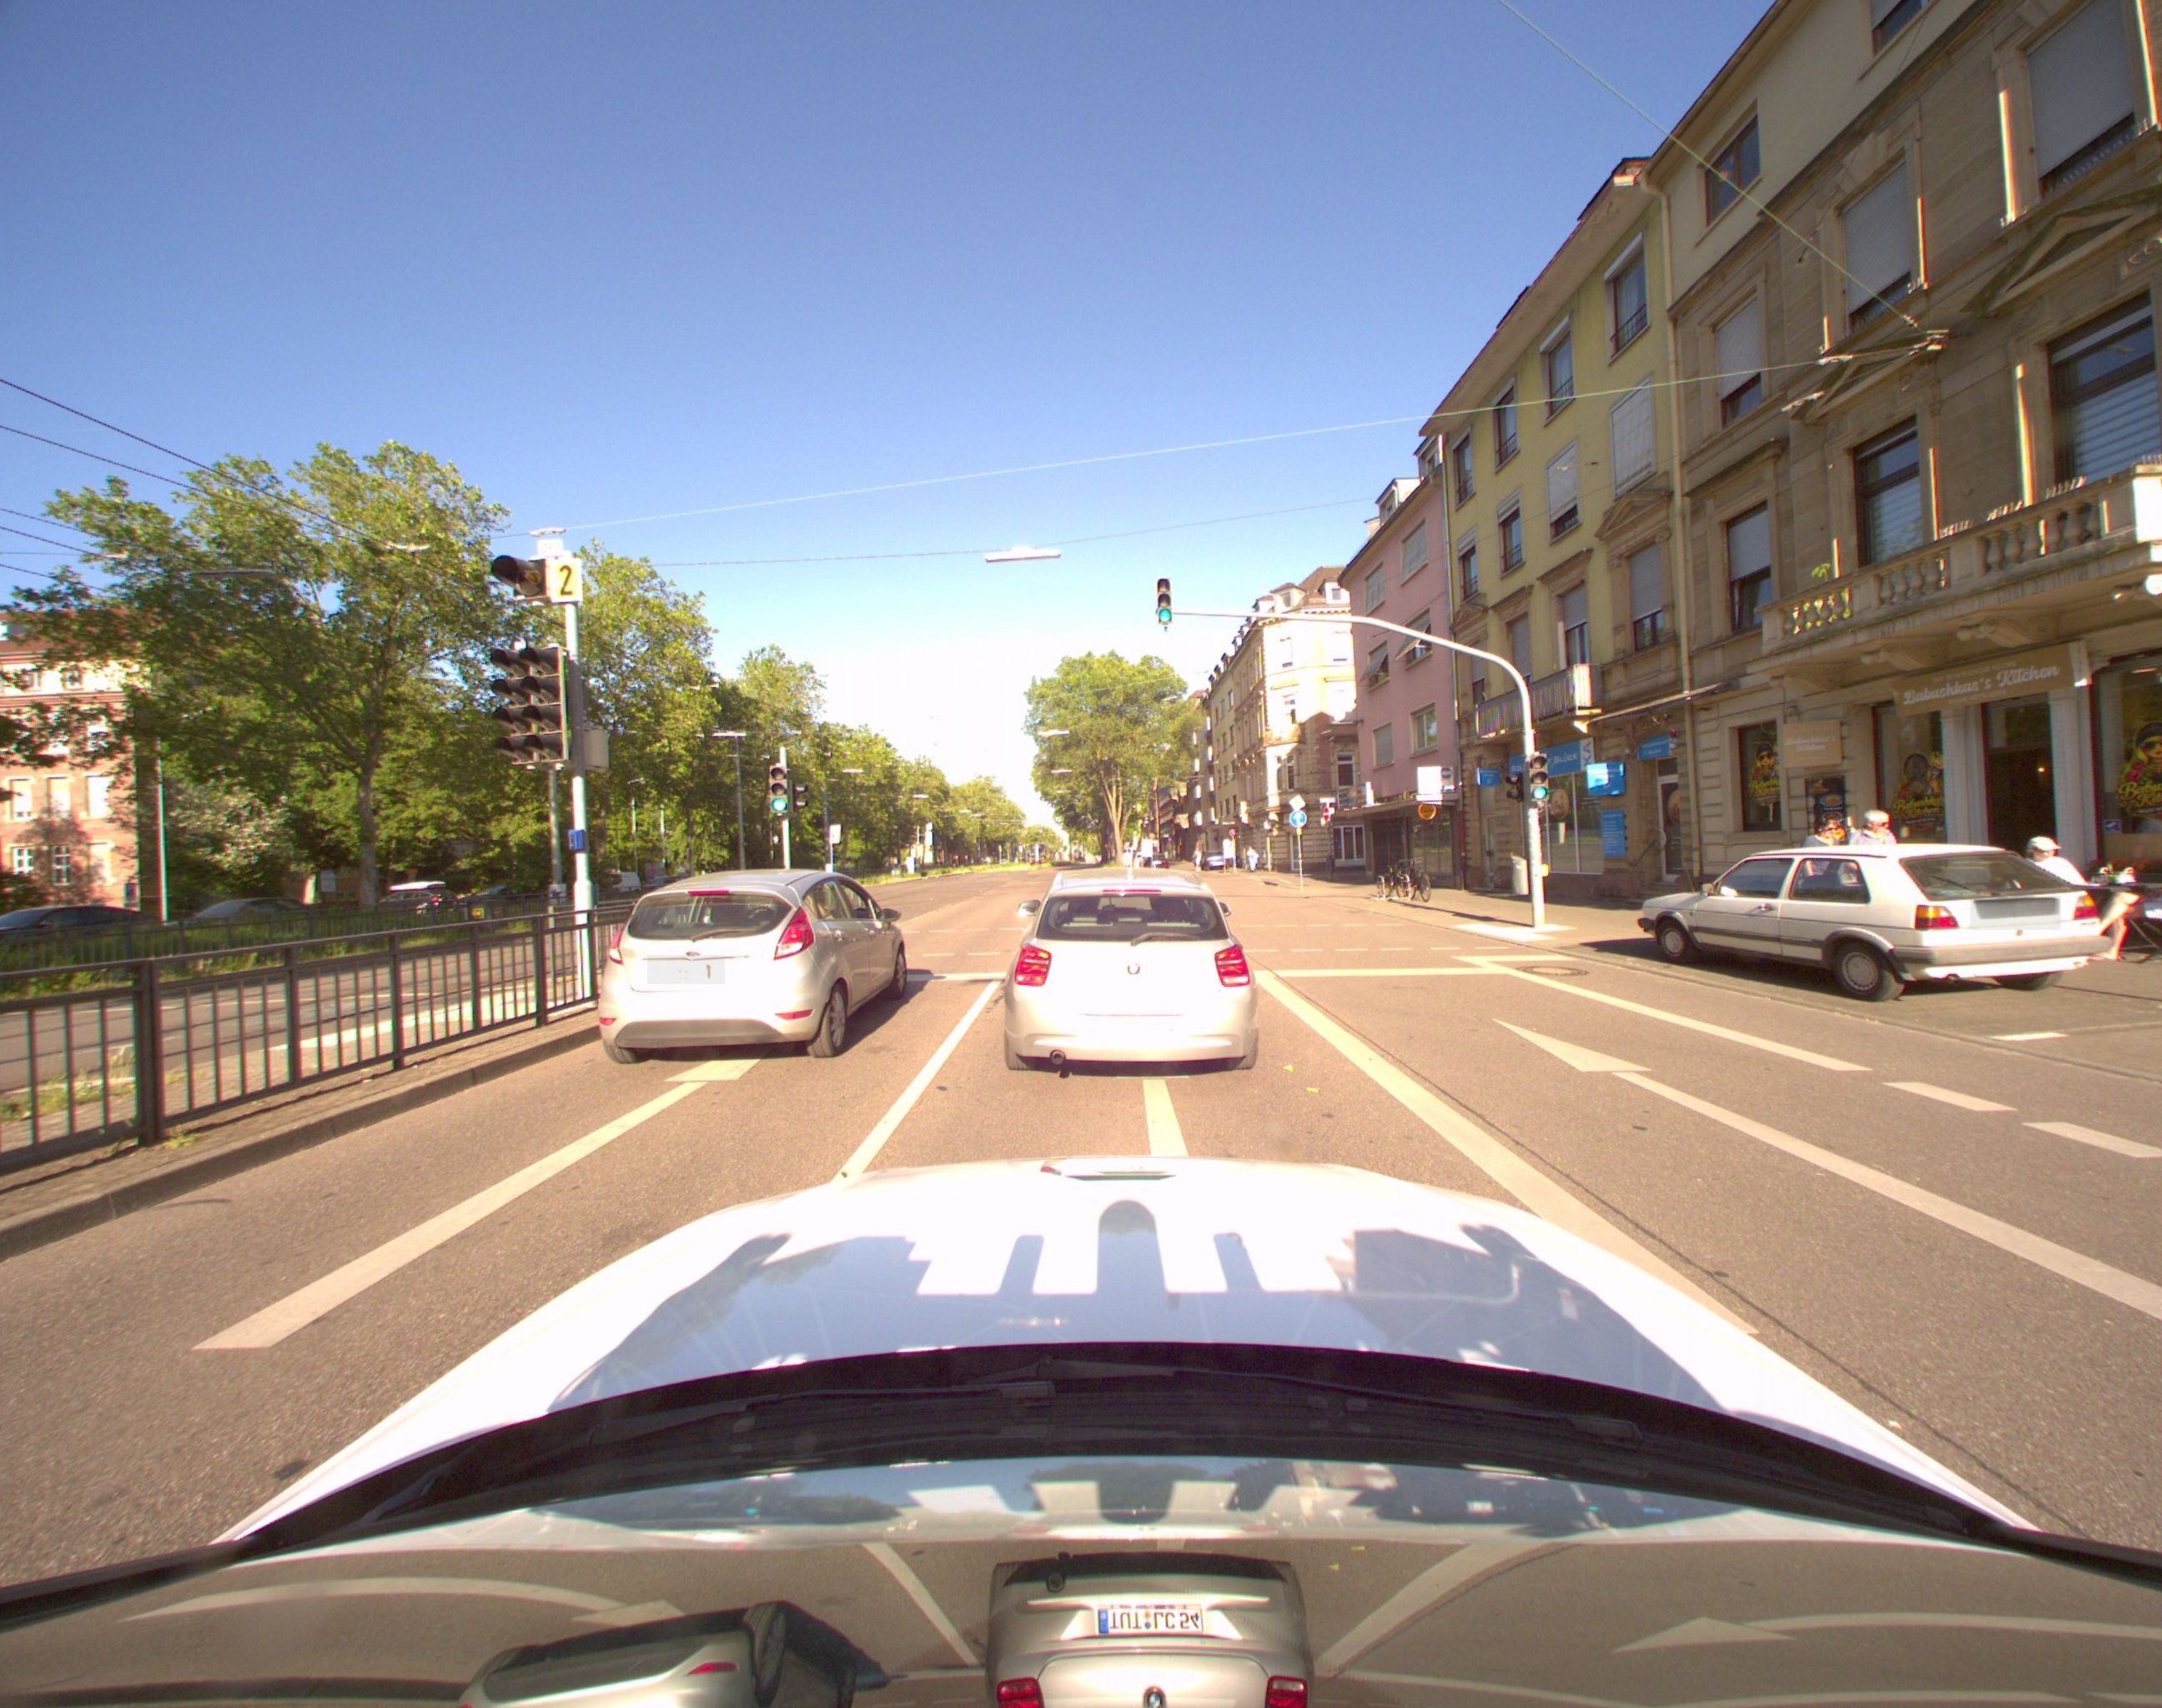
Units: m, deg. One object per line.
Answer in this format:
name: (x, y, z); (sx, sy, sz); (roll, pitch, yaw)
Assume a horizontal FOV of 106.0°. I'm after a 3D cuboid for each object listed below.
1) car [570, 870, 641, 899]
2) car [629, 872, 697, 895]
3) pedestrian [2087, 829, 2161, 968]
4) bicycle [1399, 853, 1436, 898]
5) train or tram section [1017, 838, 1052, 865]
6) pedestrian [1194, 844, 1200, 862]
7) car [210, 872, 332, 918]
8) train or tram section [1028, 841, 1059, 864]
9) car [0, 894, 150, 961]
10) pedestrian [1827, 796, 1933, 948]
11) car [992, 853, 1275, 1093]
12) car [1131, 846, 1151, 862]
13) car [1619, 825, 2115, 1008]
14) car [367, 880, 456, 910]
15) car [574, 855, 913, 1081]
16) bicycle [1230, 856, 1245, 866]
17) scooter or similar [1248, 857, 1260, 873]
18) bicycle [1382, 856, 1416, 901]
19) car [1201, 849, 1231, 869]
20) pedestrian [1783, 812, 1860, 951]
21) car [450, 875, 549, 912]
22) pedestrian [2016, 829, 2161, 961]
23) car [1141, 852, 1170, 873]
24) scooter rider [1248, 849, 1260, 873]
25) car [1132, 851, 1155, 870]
car: (-27.796, 1.753, 47.774); (1.664, 1.509, 4.145); (-2, 0, 0)
car: (-27.556, 1.901, 53.842); (1.929, 1.349, 4.849); (-2, -1, 0)
pedestrian: (10.721, 0.417, 7.964); (0.899, 1.281, 0.655); (-4, 0, -4)
bicycle: (9.097, 0.559, 22.053); (0.446, 1.159, 1.762); (-2, 0, 8)
train or tram section: (-7.168, -0.432, 129.332); (3.954, 3.865, 17.496); (-2, 0, 2)
pedestrian: (12.153, -0.087, 85.362); (0.503, 1.802, 0.806); (-2, 0, 1)
car: (-40.447, 2.006, 40.827); (1.986, 2.013, 4.002); (-2, 0, 2)
train or tram section: (-6.573, -0.252, 146.732); (3.990, 3.865, 17.496); (-2, 0, 2)
car: (-27.900, 1.945, 21.552); (1.664, 1.509, 4.145); (-2, 0, 0)
pedestrian: (10.004, 0.221, 10.216); (0.670, 1.806, 0.531); (-5, 0, 1)
car: (0.381, 0.733, 7.028); (1.733, 1.467, 4.001); (-1, 0, 2)
car: (5.949, 0.029, 80.851); (1.719, 1.507, 3.555); (-1, 0, 0)
car: (8.006, 0.528, 8.930); (1.557, 1.415, 4.005); (-5, 0, 2)
car: (-37.963, 2.304, 46.214); (3.968, 1.494, 1.395); (-2, 0, 5)
car: (-2.704, 0.778, 7.529); (1.605, 1.467, 3.886); (-2, 0, -3)
bicycle: (12.097, 0.522, 62.955); (0.752, 0.770, 1.945); (-2, 0, 0)
scooter or similar: (11.064, 0.709, 52.134); (0.337, 0.988, 1.282); (-2, 0, -4)
bicycle: (8.602, 0.637, 22.068); (0.411, 1.141, 1.813); (-2, 0, 8)
car: (10.339, 0.379, 62.650); (1.729, 1.519, 3.637); (-1, 0, 1)
pedestrian: (9.361, 0.345, 10.312); (0.547, 1.708, 0.389); (-2, 0, 4)
car: (-27.660, 1.843, 38.889); (1.664, 1.509, 4.145); (-2, 0, 0)
pedestrian: (10.708, 0.418, 8.634); (0.795, 1.281, 0.608); (-5, 0, -1)
car: (5.207, 0.558, 56.948); (1.729, 1.433, 3.678); (-1, 0, 1)
scooter rider: (11.059, 0.439, 52.093); (0.465, 1.505, 0.809); (-2, 0, -6)
car: (5.207, 0.522, 68.126); (1.719, 1.507, 3.555); (-1, 0, 0)
